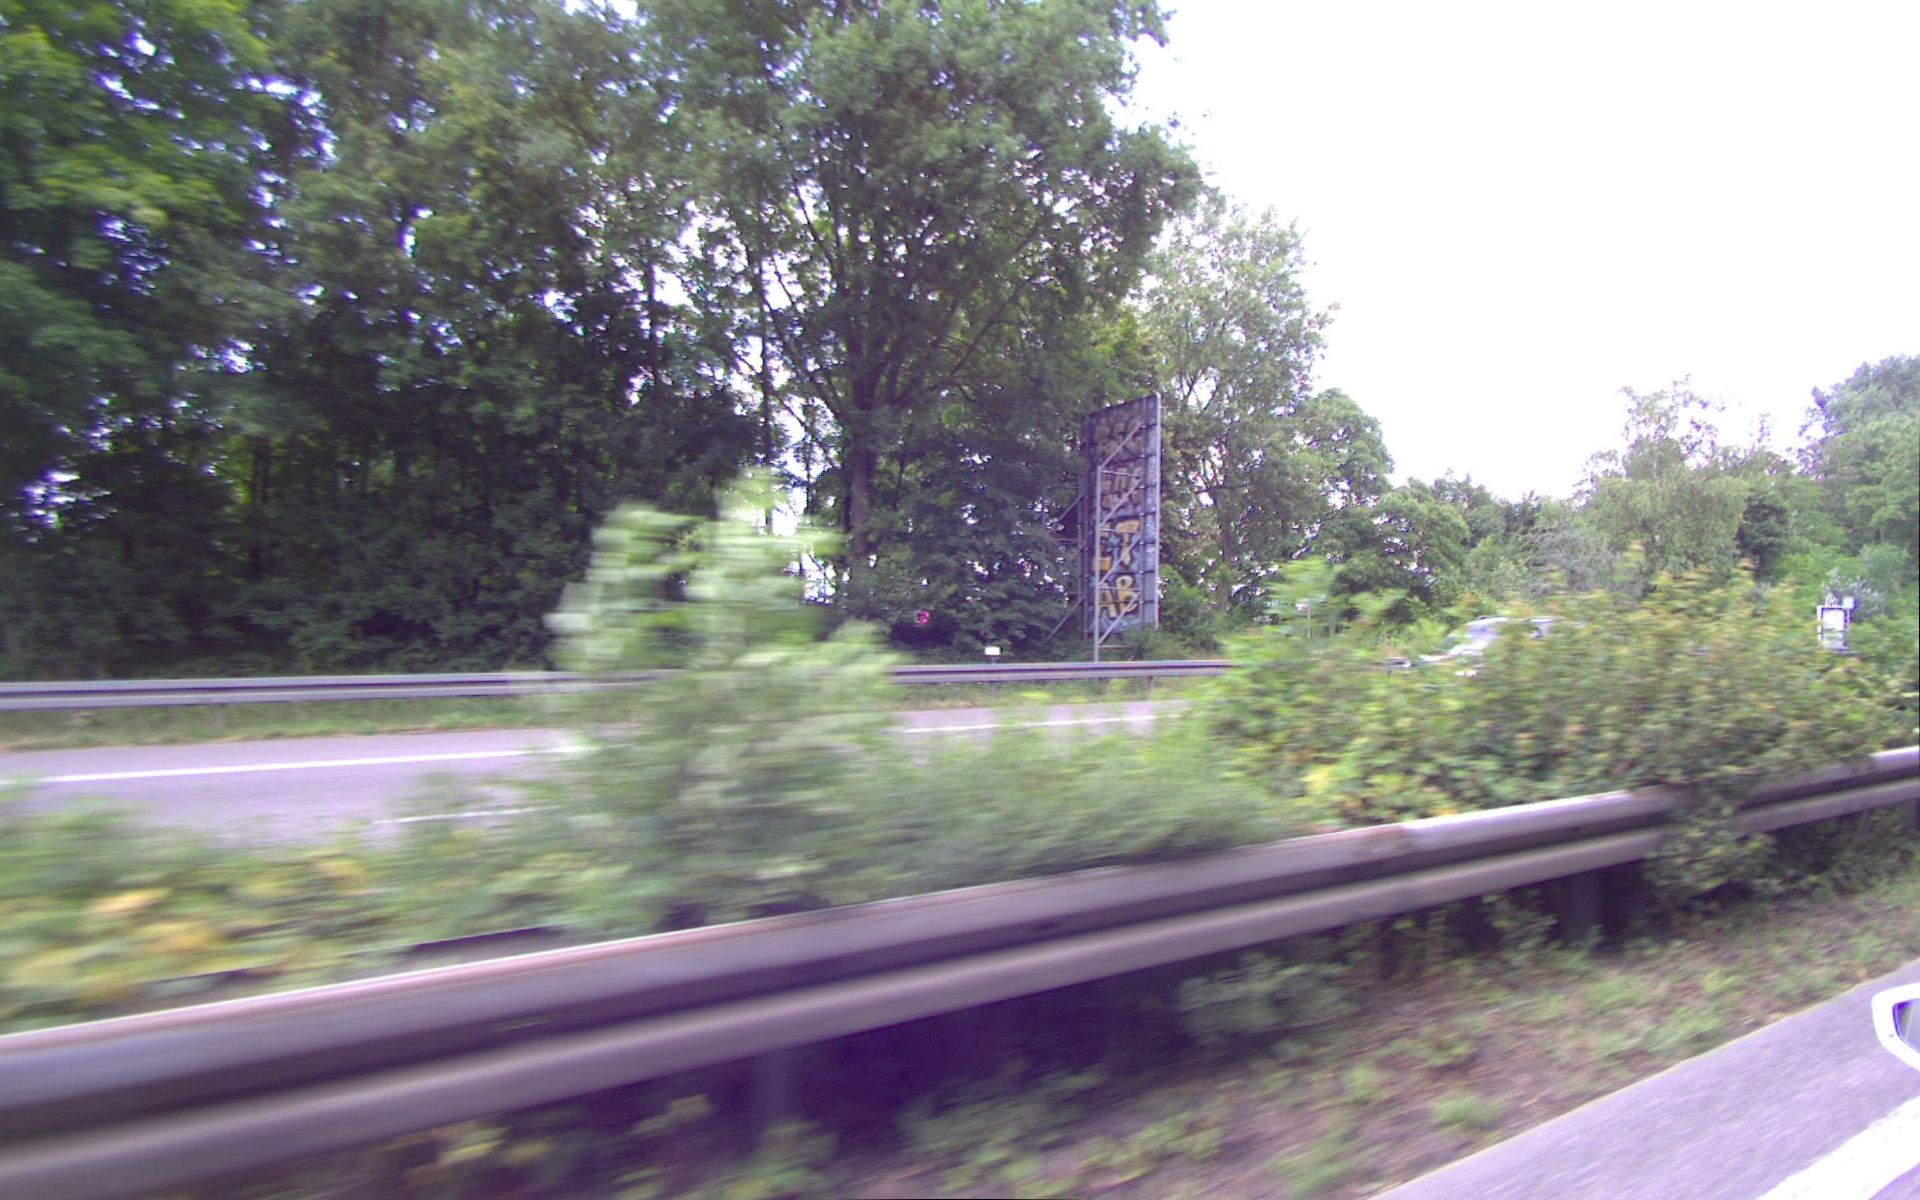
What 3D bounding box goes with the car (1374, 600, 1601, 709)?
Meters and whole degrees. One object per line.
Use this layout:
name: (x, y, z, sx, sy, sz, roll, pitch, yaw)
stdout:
car: (10.210, 0.991, 19.388, 4.227, 1.894, 1.984, 1, -1, -30)
